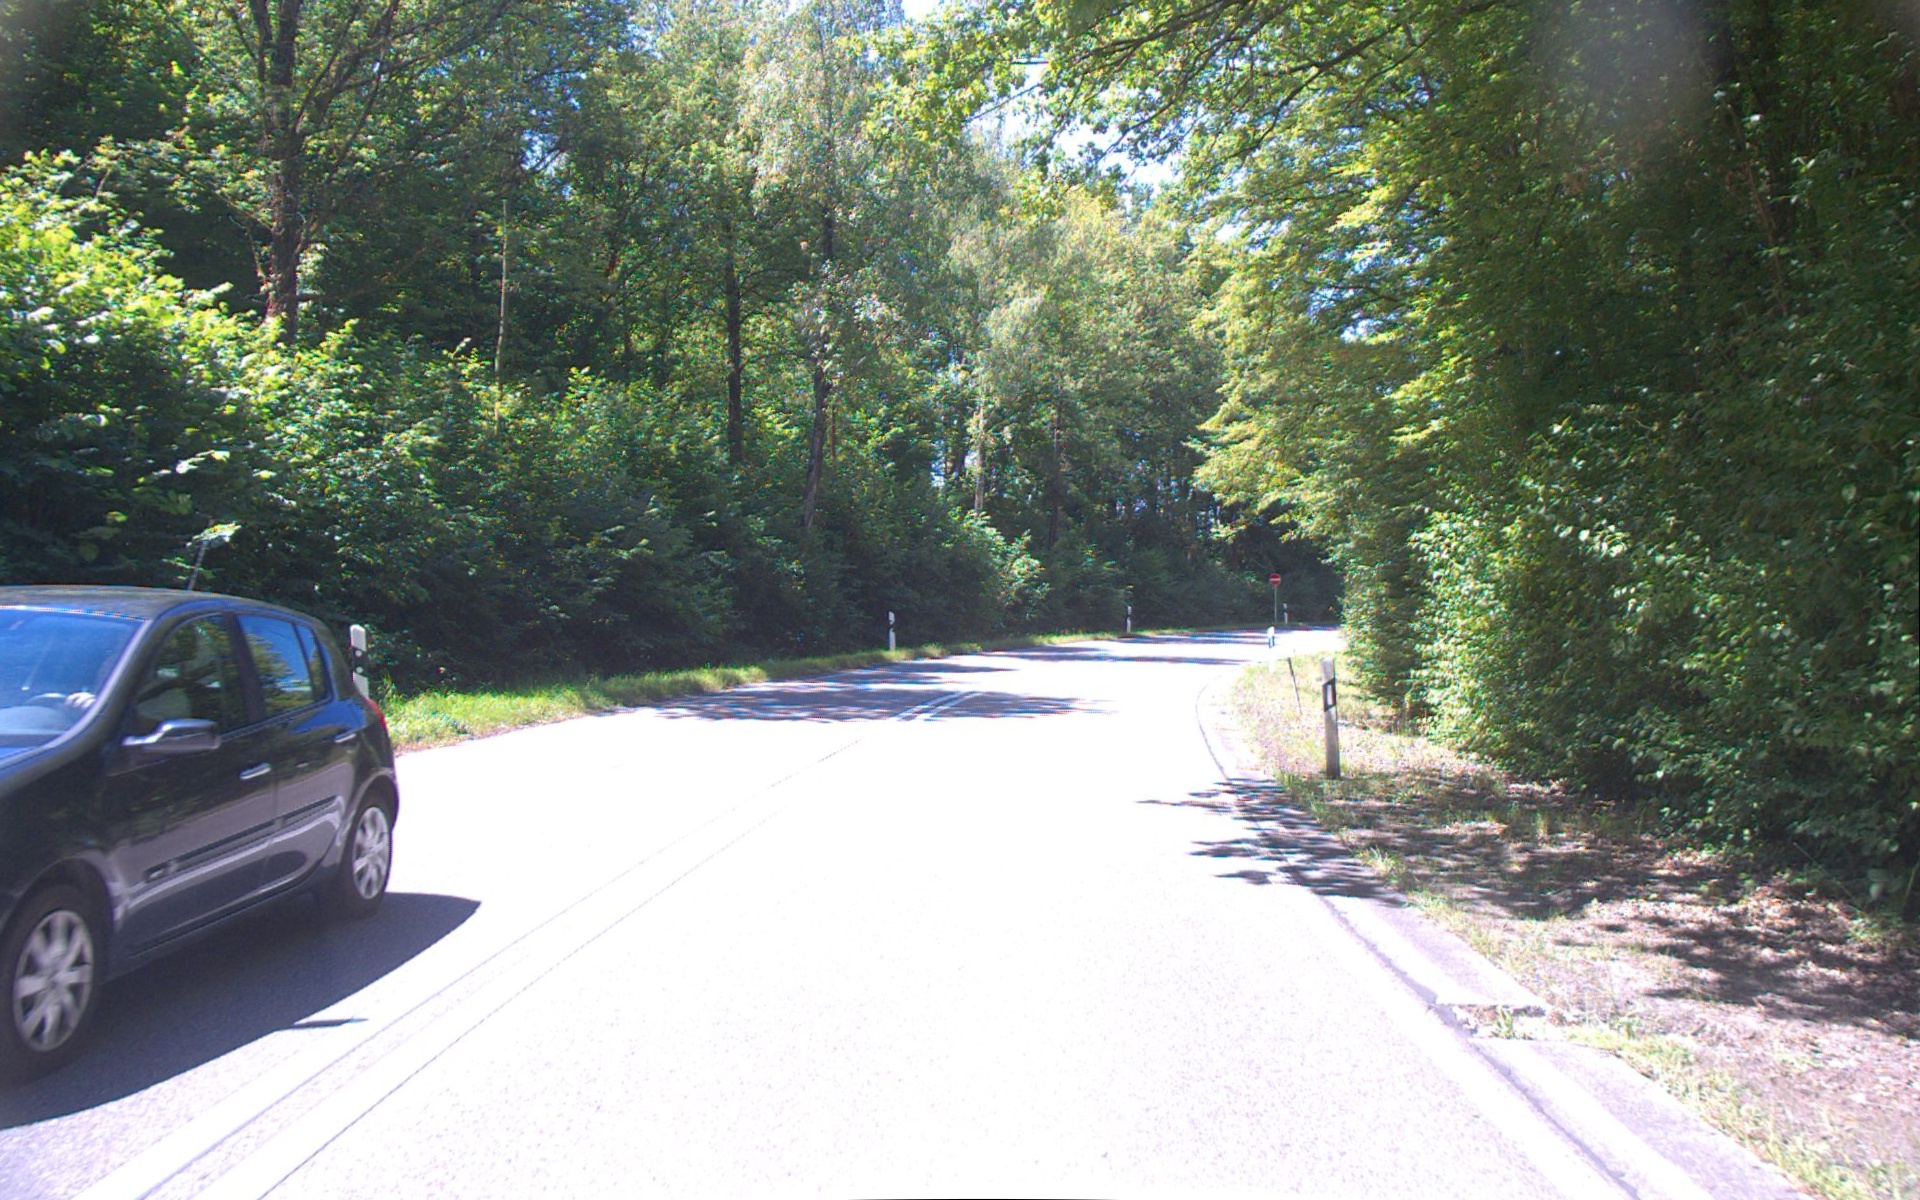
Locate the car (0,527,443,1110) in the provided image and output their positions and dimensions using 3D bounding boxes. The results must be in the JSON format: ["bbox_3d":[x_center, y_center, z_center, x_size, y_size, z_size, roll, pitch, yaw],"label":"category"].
[{"bbox_3d":[-3.444,0.637,6.325,1.643,1.601,3.895,-1,-1,1],"label":"car"}]
